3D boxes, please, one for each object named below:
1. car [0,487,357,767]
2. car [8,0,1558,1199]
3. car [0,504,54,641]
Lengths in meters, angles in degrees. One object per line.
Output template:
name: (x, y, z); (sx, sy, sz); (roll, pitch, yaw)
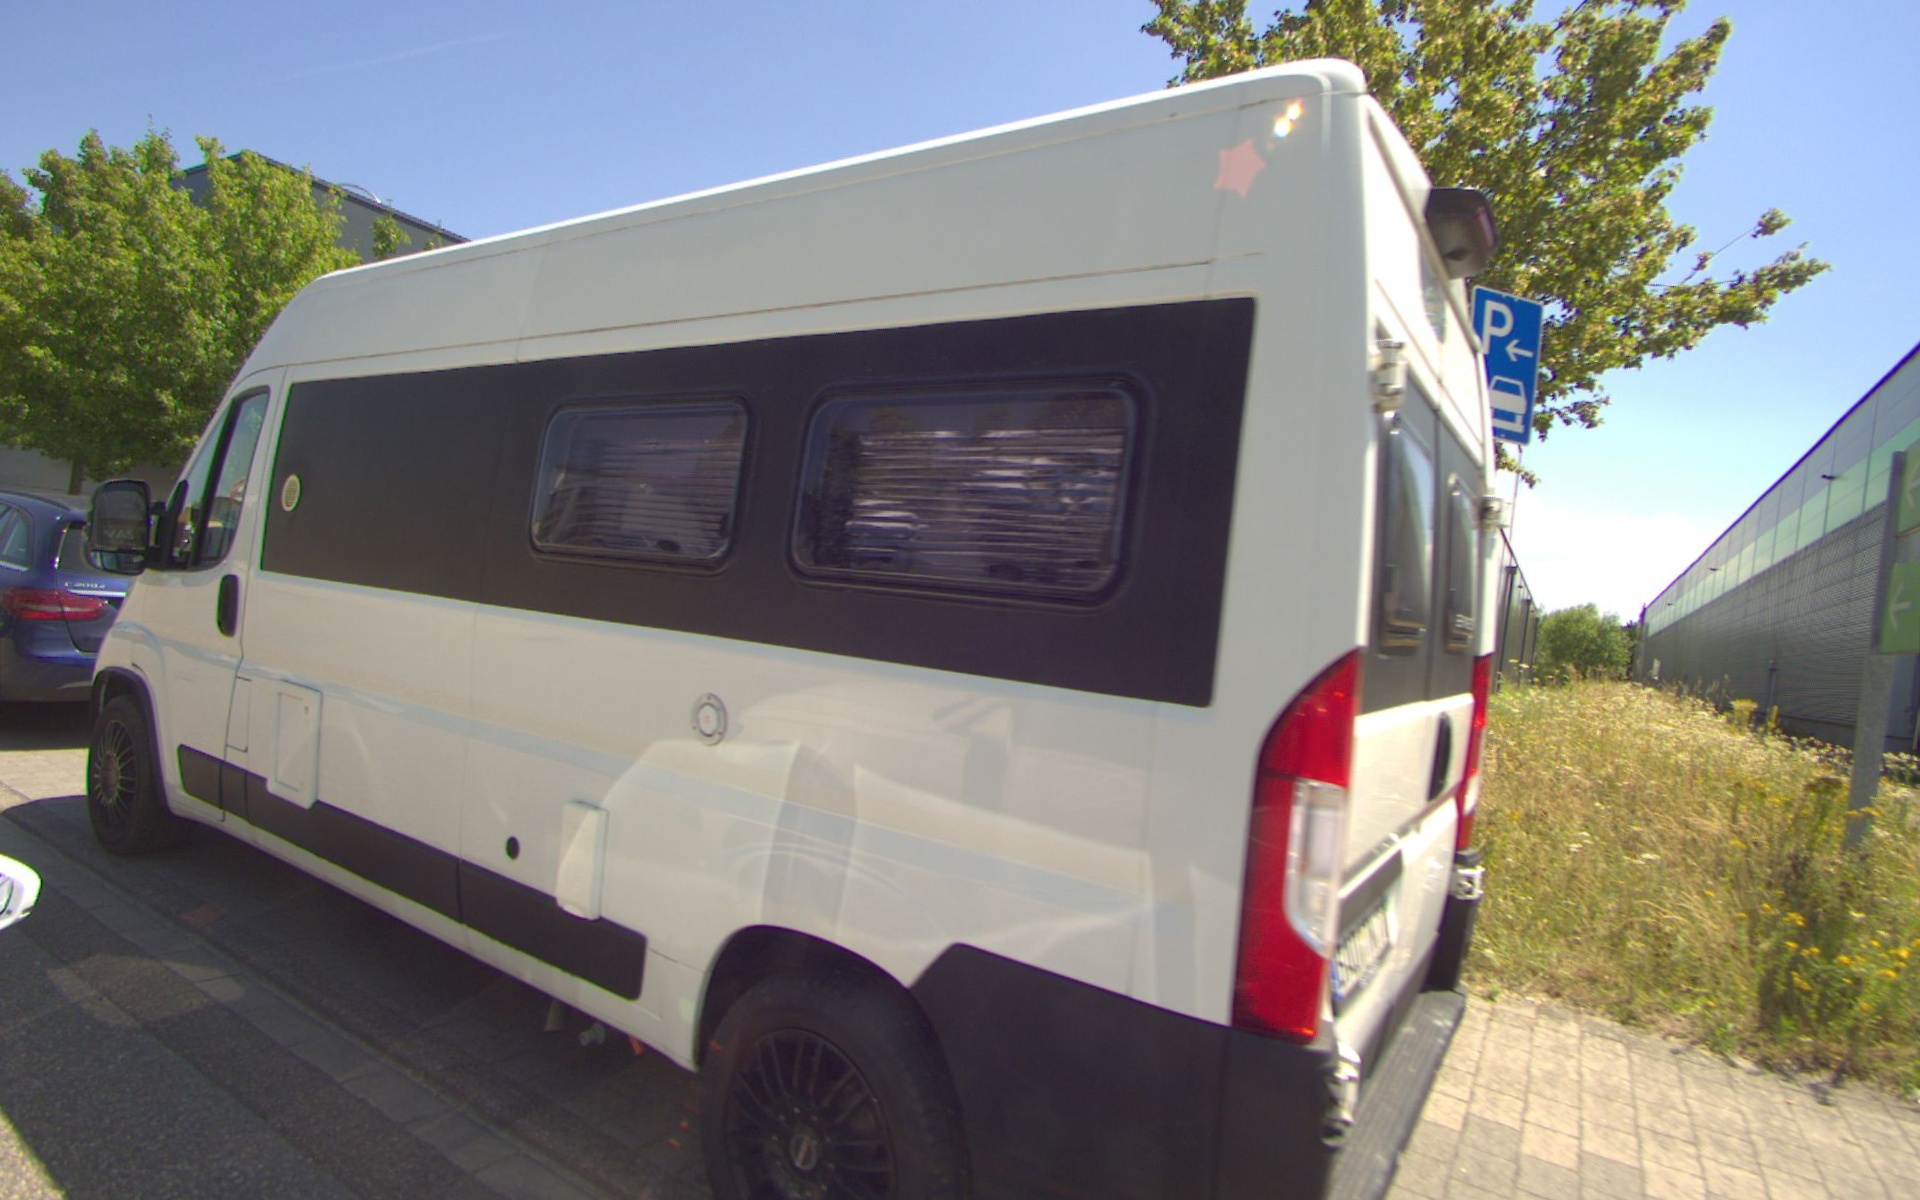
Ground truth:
car: (-6.559, -0.002, 7.450); (4.406, 1.513, 1.829); (7, 1, 34)
car: (-1.313, 0.070, 4.027); (6.053, 2.529, 2.268); (7, 1, 34)
car: (-11.151, -0.465, 10.369); (4.049, 1.303, 1.712); (6, 0, 34)
